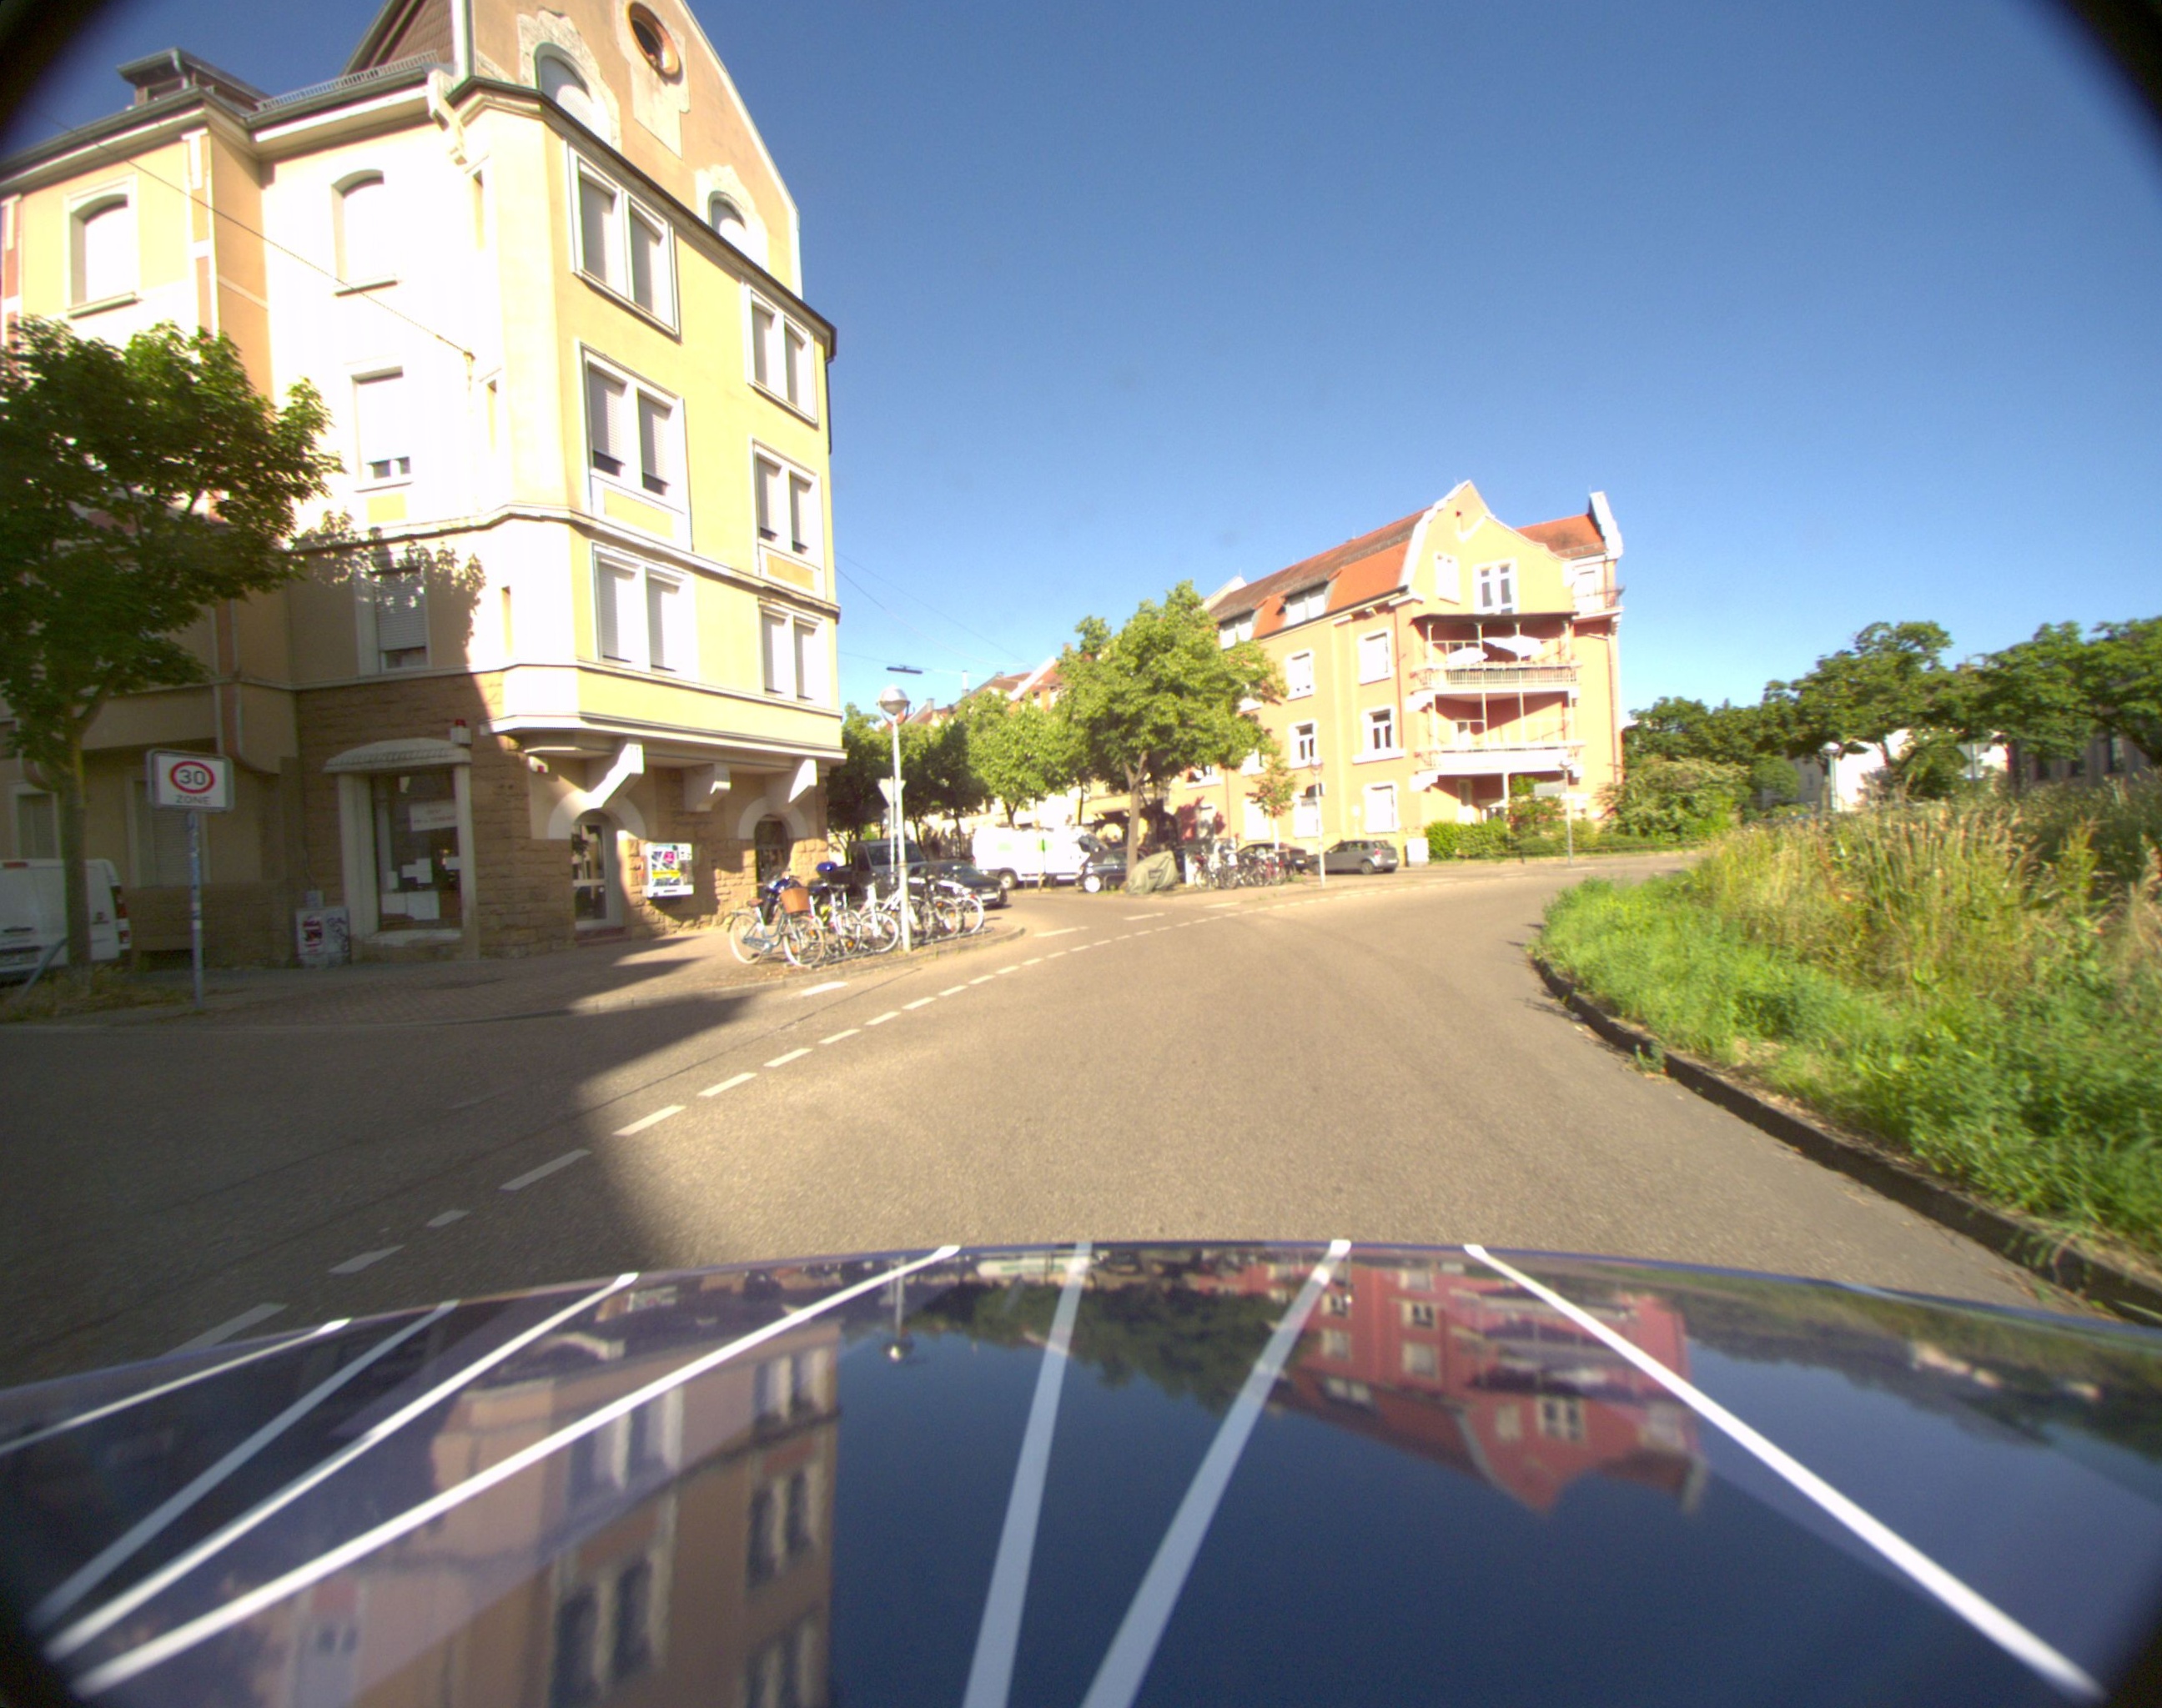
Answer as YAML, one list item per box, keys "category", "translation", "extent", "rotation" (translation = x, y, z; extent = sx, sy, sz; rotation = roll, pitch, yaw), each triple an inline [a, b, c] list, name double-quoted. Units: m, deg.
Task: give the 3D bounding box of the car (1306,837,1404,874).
- category: "car"
  translation: [11.517, 0.084, 32.129]
  extent: [1.691, 1.438, 3.537]
  rotation: [-2, 0, -35]

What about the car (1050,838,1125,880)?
- category: "car"
  translation: [0.284, 0.236, 36.329]
  extent: [3.383, 1.854, 1.687]
  rotation: [-2, 0, -6]

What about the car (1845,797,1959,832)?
- category: "car"
  translation: [54.162, -2.589, 50.247]
  extent: [4.768, 1.990, 1.812]
  rotation: [-2, 1, 23]

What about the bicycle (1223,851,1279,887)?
- category: "bicycle"
  translation: [5.473, 0.484, 24.520]
  extent: [0.658, 1.082, 1.725]
  rotation: [-4, 2, -34]

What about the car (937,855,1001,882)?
- category: "car"
  translation: [-6.606, 0.837, 44.985]
  extent: [3.380, 1.461, 1.689]
  rotation: [-2, 0, 3]

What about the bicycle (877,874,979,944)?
- category: "bicycle"
  translation: [-2.629, 0.942, 13.010]
  extent: [1.693, 1.117, 0.484]
  rotation: [-3, 1, 25]

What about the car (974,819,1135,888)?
- category: "car"
  translation: [-1.024, 0.002, 31.596]
  extent: [6.368, 2.585, 2.104]
  rotation: [-2, 0, 6]

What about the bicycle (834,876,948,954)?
- category: "bicycle"
  translation: [-3.032, 0.963, 12.096]
  extent: [1.693, 1.139, 0.618]
  rotation: [-3, 1, 25]

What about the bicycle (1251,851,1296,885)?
- category: "bicycle"
  translation: [6.394, 0.461, 25.335]
  extent: [0.420, 1.083, 1.570]
  rotation: [-4, 2, -32]

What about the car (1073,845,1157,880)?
- category: "car"
  translation: [1.519, 0.387, 34.251]
  extent: [3.387, 1.438, 1.685]
  rotation: [-2, 0, -21]

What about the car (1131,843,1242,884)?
- category: "car"
  translation: [4.093, 0.368, 29.630]
  extent: [3.922, 1.438, 1.687]
  rotation: [-2, 0, -10]

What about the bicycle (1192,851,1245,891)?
- category: "bicycle"
  translation: [4.255, 0.520, 23.639]
  extent: [0.539, 1.186, 1.675]
  rotation: [-4, 2, -34]

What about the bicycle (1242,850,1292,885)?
- category: "bicycle"
  translation: [6.067, 0.439, 24.811]
  extent: [0.501, 1.096, 1.646]
  rotation: [-4, 2, -32]

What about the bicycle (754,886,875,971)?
- category: "bicycle"
  translation: [-3.812, 1.035, 10.820]
  extent: [1.874, 1.084, 0.537]
  rotation: [-2, 1, 33]

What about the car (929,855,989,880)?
- category: "car"
  translation: [-7.647, 0.846, 47.644]
  extent: [3.380, 1.461, 1.689]
  rotation: [-2, 0, 3]

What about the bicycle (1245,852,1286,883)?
- category: "bicycle"
  translation: [6.614, 0.477, 27.248]
  extent: [0.420, 1.080, 1.523]
  rotation: [-4, 2, -31]

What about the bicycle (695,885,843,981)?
- category: "bicycle"
  translation: [-4.157, 1.034, 10.105]
  extent: [1.863, 1.123, 0.700]
  rotation: [-3, 2, 27]

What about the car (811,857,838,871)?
- category: "car"
  translation: [-29.612, 1.155, 87.621]
  extent: [1.803, 1.501, 3.990]
  rotation: [-3, 1, -35]

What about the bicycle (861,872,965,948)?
- category: "bicycle"
  translation: [-2.794, 0.923, 12.615]
  extent: [1.693, 1.185, 0.452]
  rotation: [-3, 1, 25]

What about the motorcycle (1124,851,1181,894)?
- category: "motorcycle"
  translation: [2.222, 0.548, 23.489]
  extent: [1.714, 1.263, 0.537]
  rotation: [-2, 1, -30]

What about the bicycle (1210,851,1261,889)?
- category: "bicycle"
  translation: [4.890, 0.504, 24.107]
  extent: [0.590, 1.120, 1.598]
  rotation: [-4, 2, -34]

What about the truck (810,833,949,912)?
- category: "truck"
  translation: [-7.065, 0.614, 25.979]
  extent: [2.143, 2.279, 6.604]
  rotation: [-5, 1, -37]

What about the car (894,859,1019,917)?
- category: "car"
  translation: [-3.574, 0.918, 21.333]
  extent: [1.691, 1.382, 3.912]
  rotation: [-5, 1, -38]

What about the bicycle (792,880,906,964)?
- category: "bicycle"
  translation: [-3.487, 0.986, 11.364]
  extent: [1.692, 1.139, 0.639]
  rotation: [-2, 1, 33]

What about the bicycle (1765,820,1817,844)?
- category: "bicycle"
  translation: [33.751, -1.049, 36.164]
  extent: [1.722, 1.109, 0.547]
  rotation: [-1, 2, 28]

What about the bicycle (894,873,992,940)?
- category: "bicycle"
  translation: [-2.461, 0.929, 13.479]
  extent: [1.714, 1.117, 0.484]
  rotation: [-2, 1, 27]

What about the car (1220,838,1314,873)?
- category: "car"
  translation: [8.775, 0.114, 36.133]
  extent: [1.691, 1.553, 4.284]
  rotation: [-2, 0, -35]

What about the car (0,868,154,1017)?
- category: "car"
  translation: [-16.255, 1.282, 10.458]
  extent: [4.556, 1.898, 2.142]
  rotation: [-3, 0, 5]

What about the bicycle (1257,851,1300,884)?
- category: "bicycle"
  translation: [6.675, 0.451, 25.753]
  extent: [0.420, 1.080, 1.523]
  rotation: [-4, 2, -31]

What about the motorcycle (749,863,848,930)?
- category: "motorcycle"
  translation: [-6.403, 0.928, 17.368]
  extent: [0.698, 1.403, 2.255]
  rotation: [-1, -1, 25]
